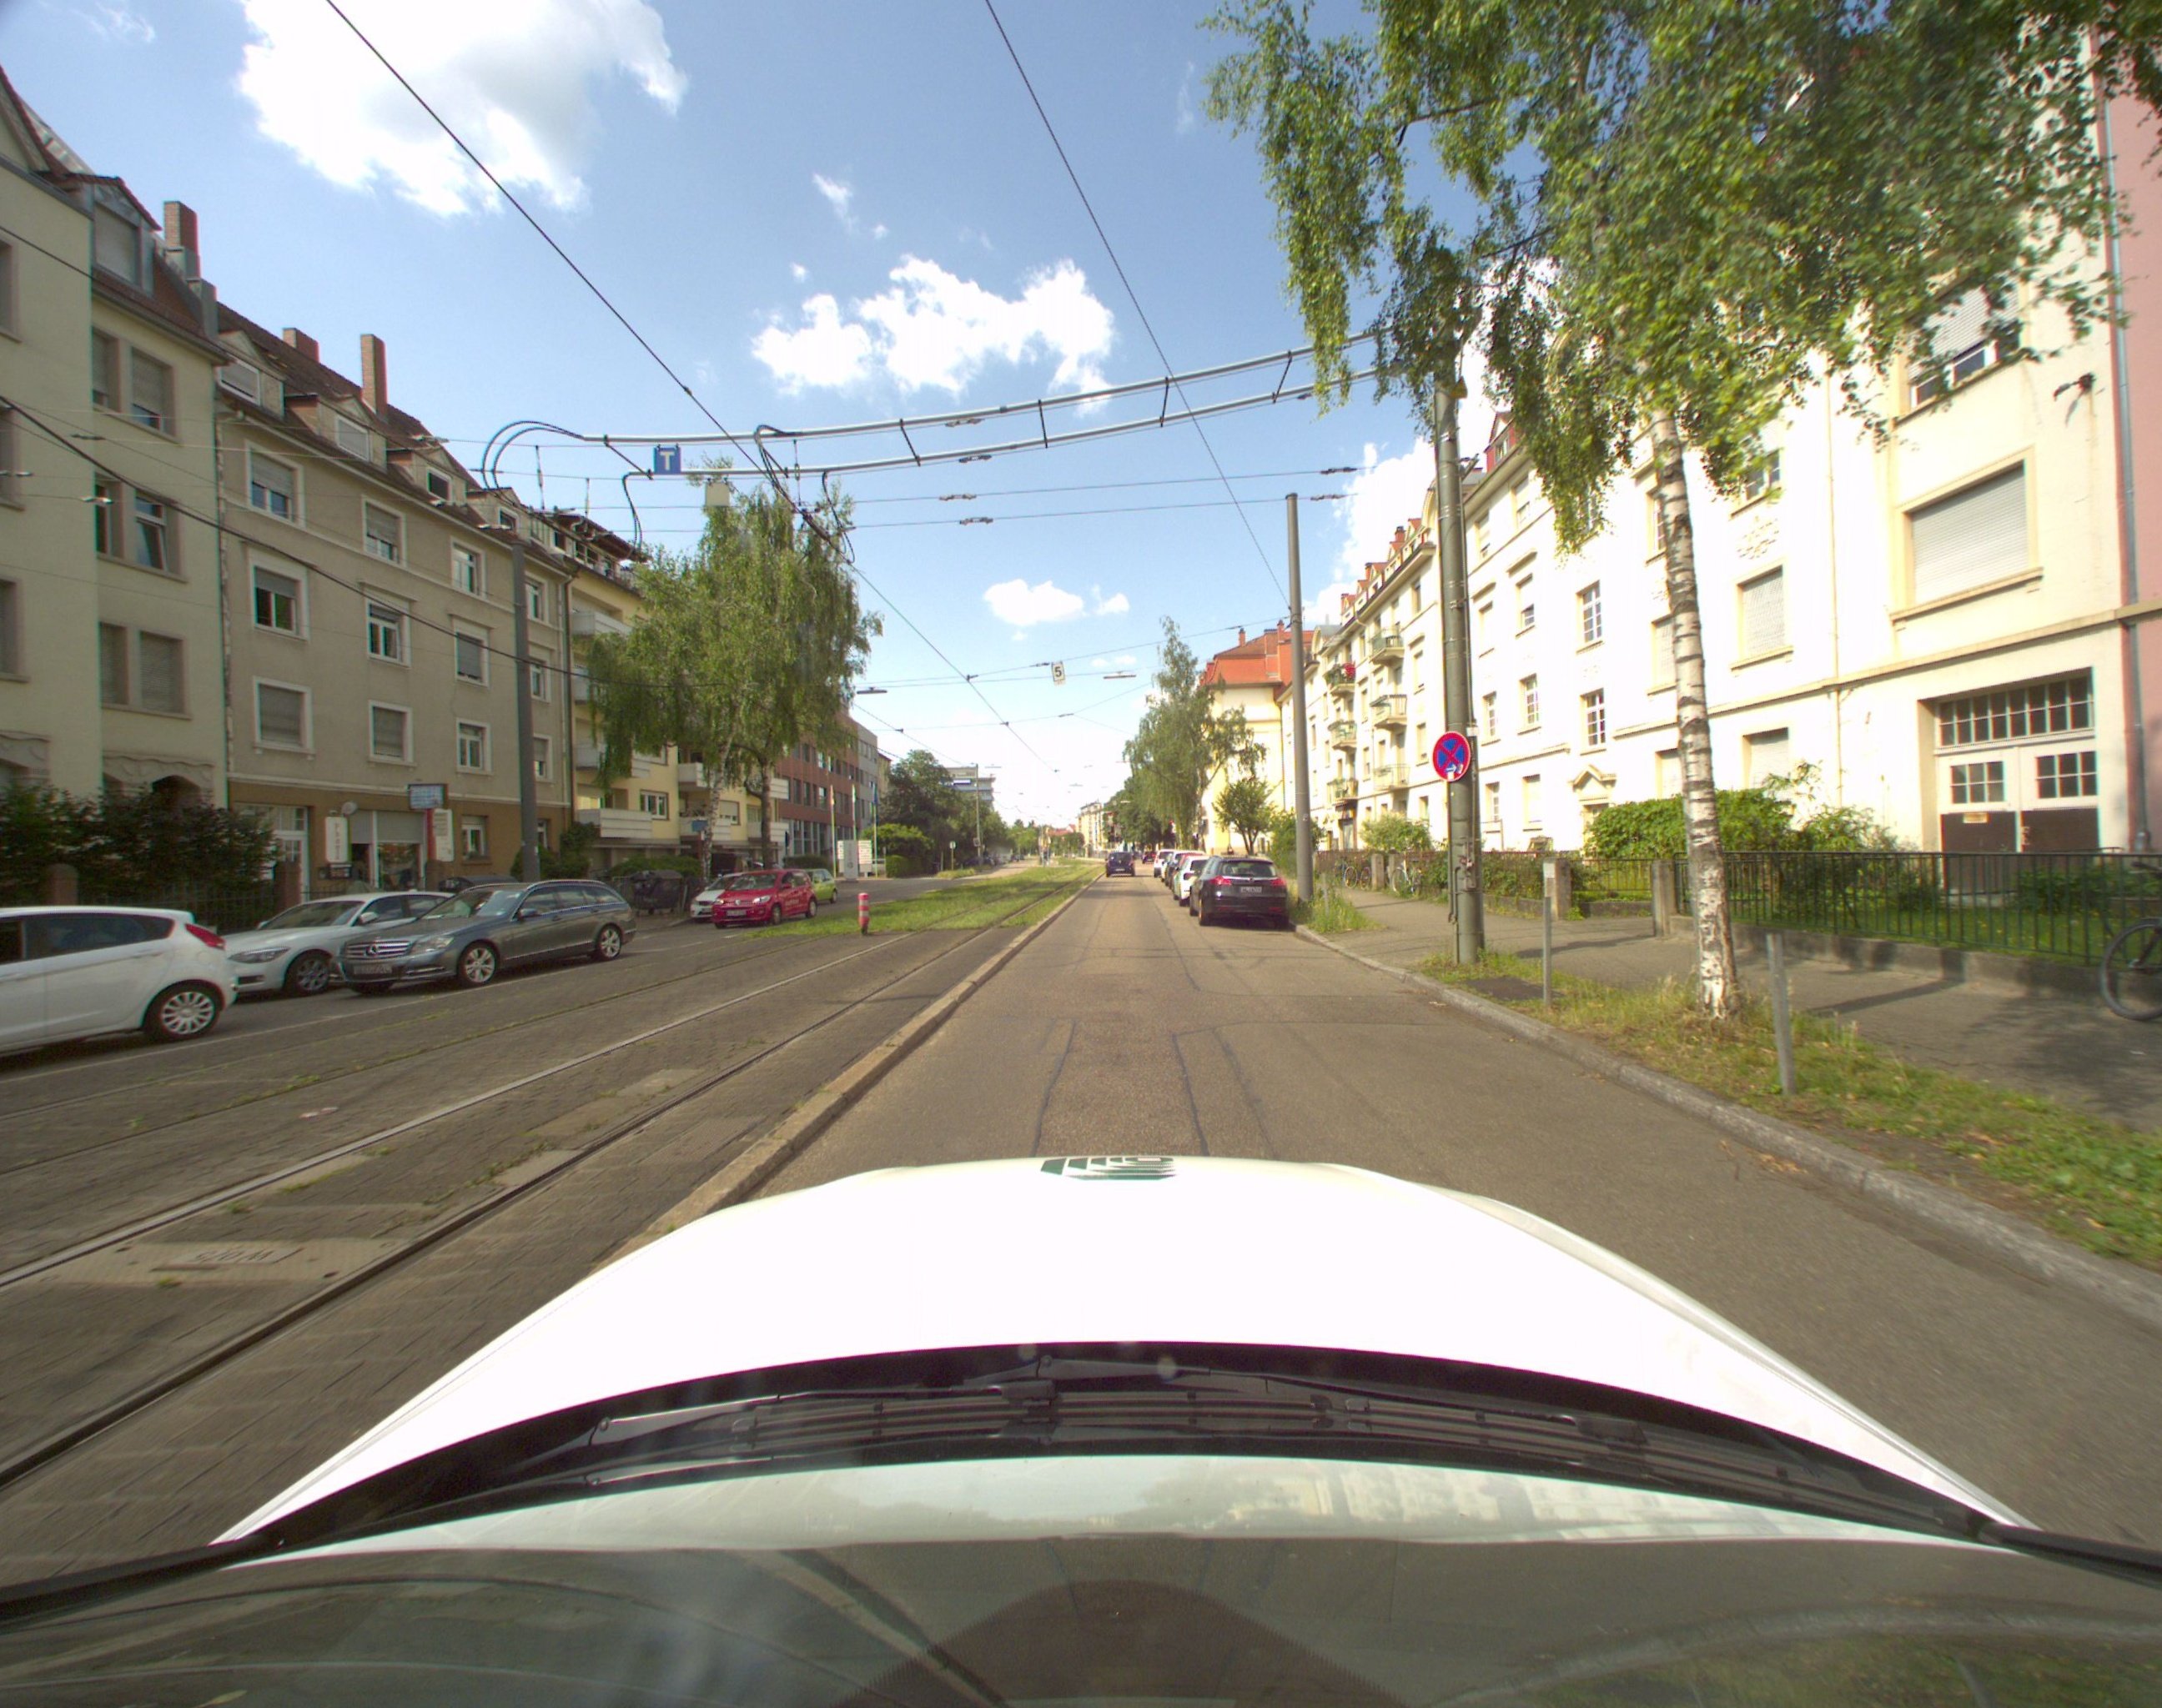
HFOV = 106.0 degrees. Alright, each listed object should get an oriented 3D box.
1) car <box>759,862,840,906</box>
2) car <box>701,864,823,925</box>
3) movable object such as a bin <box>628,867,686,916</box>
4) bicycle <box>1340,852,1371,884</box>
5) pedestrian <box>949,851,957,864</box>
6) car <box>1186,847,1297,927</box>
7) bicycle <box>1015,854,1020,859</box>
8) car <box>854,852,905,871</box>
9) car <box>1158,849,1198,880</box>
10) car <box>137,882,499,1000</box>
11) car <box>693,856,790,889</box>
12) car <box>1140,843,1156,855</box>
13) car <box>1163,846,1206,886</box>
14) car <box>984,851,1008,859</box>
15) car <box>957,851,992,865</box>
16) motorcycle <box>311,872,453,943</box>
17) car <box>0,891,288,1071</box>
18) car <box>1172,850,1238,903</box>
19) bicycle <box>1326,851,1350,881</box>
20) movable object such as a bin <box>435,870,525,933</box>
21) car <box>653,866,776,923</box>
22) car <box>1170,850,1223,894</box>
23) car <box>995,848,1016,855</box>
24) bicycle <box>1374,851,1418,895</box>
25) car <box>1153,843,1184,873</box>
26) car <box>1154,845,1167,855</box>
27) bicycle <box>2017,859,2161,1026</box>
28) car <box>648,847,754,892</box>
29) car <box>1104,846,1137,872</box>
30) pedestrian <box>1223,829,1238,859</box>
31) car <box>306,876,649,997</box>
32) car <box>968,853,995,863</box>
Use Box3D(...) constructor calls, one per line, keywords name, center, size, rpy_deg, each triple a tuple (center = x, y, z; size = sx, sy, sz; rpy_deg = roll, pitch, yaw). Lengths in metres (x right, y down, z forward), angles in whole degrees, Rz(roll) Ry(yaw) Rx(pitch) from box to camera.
Box3D(name="car", center=(-10.807, 1.112, 31.540), size=(1.587, 1.432, 3.619), rpy_deg=(-3, 0, 5))
Box3D(name="car", center=(-8.582, 1.045, 22.262), size=(1.572, 1.386, 3.697), rpy_deg=(-3, 0, 4))
Box3D(name="movable object such as a bin", center=(-13.403, 1.166, 25.794), size=(0.947, 1.430, 1.523), rpy_deg=(0, 1, 3))
Box3D(name="bicycle", center=(8.499, 0.418, 25.286), size=(0.376, 0.943, 2.011), rpy_deg=(-2, 1, 3))
Box3D(name="pedestrian", center=(-15.239, 0.409, 97.058), size=(0.741, 1.574, 0.891), rpy_deg=(-2, -1, 6))
Box3D(name="car", center=(3.384, 0.616, 18.001), size=(1.784, 1.520, 4.530), rpy_deg=(1, 1, 3))
Box3D(name="bicycle", center=(-13.029, 0.427, 167.175), size=(0.678, 0.971, 2.179), rpy_deg=(-3, 0, 2))
Box3D(name="car", center=(-17.797, 0.657, 71.998), size=(3.973, 1.596, 2.000), rpy_deg=(-2, 0, 0))
Box3D(name="car", center=(4.669, 0.467, 39.689), size=(1.666, 1.417, 3.798), rpy_deg=(1, 0, 3))
Box3D(name="car", center=(-11.743, 1.256, 12.996), size=(1.746, 1.356, 4.001), rpy_deg=(-2, 0, 5))
Box3D(name="car", center=(-16.866, 0.912, 40.557), size=(3.970, 1.602, 1.975), rpy_deg=(0, 0, 3))
Box3D(name="car", center=(7.630, -0.558, 92.636), size=(1.693, 1.368, 3.516), rpy_deg=(0, 1, 2))
Box3D(name="car", center=(4.308, 0.480, 34.397), size=(1.487, 1.579, 3.761), rpy_deg=(0, 1, 2))
Box3D(name="car", center=(-15.276, 0.180, 146.133), size=(4.023, 1.367, 1.695), rpy_deg=(-3, 1, -43))
Box3D(name="car", center=(-13.895, 0.467, 106.359), size=(4.155, 1.640, 1.705), rpy_deg=(-2, 0, -42))
Box3D(name="motorcycle", center=(-14.052, 1.031, 16.486), size=(0.898, 1.242, 2.293), rpy_deg=(-2, 1, -2))
Box3D(name="car", center=(-10.075, 1.197, 7.177), size=(1.745, 1.414, 4.143), rpy_deg=(-4, 0, 8))
Box3D(name="car", center=(3.640, 0.608, 24.490), size=(1.612, 1.452, 3.922), rpy_deg=(0, 0, 3))
Box3D(name="bicycle", center=(8.585, 0.386, 27.239), size=(0.386, 0.938, 1.587), rpy_deg=(-2, 0, 3))
Box3D(name="movable object such as a bin", center=(-14.213, 1.099, 19.318), size=(0.947, 1.367, 1.523), rpy_deg=(0, 1, 3))
Box3D(name="car", center=(-11.455, 1.223, 25.781), size=(1.637, 1.477, 4.231), rpy_deg=(-3, 0, 4))
Box3D(name="car", center=(4.151, 0.597, 29.732), size=(1.582, 1.452, 3.848), rpy_deg=(2, 1, 3))
Box3D(name="car", center=(-16.367, -0.576, 176.561), size=(4.019, 1.447, 1.709), rpy_deg=(-2, 1, -37))
Box3D(name="bicycle", center=(8.223, 0.469, 21.326), size=(0.469, 1.077, 2.186), rpy_deg=(-2, 0, 5))
Box3D(name="car", center=(5.154, 0.212, 47.654), size=(1.712, 1.629, 4.007), rpy_deg=(1, 1, 6))
Box3D(name="car", center=(12.356, -0.589, 127.113), size=(1.853, 1.445, 4.004), rpy_deg=(-3, 0, 3))
Box3D(name="bicycle", center=(7.199, 0.581, 5.227), size=(0.418, 1.053, 1.781), rpy_deg=(-2, 0, 5))
Box3D(name="car", center=(-17.560, 0.669, 37.734), size=(3.966, 2.013, 1.941), rpy_deg=(0, 1, 7))
Box3D(name="car", center=(2.411, 0.272, 48.910), size=(1.759, 1.462, 3.781), rpy_deg=(-2, 0, 5))
Box3D(name="pedestrian", center=(8.716, -0.598, 47.532), size=(0.726, 1.683, 0.692), rpy_deg=(-4, 0, 7))
Box3D(name="car", center=(-9.158, 1.155, 12.976), size=(1.746, 1.356, 4.519), rpy_deg=(-4, 0, 5))
Box3D(name="car", center=(-13.734, 0.573, 112.374), size=(3.407, 1.236, 1.526), rpy_deg=(-2, 1, -42))
